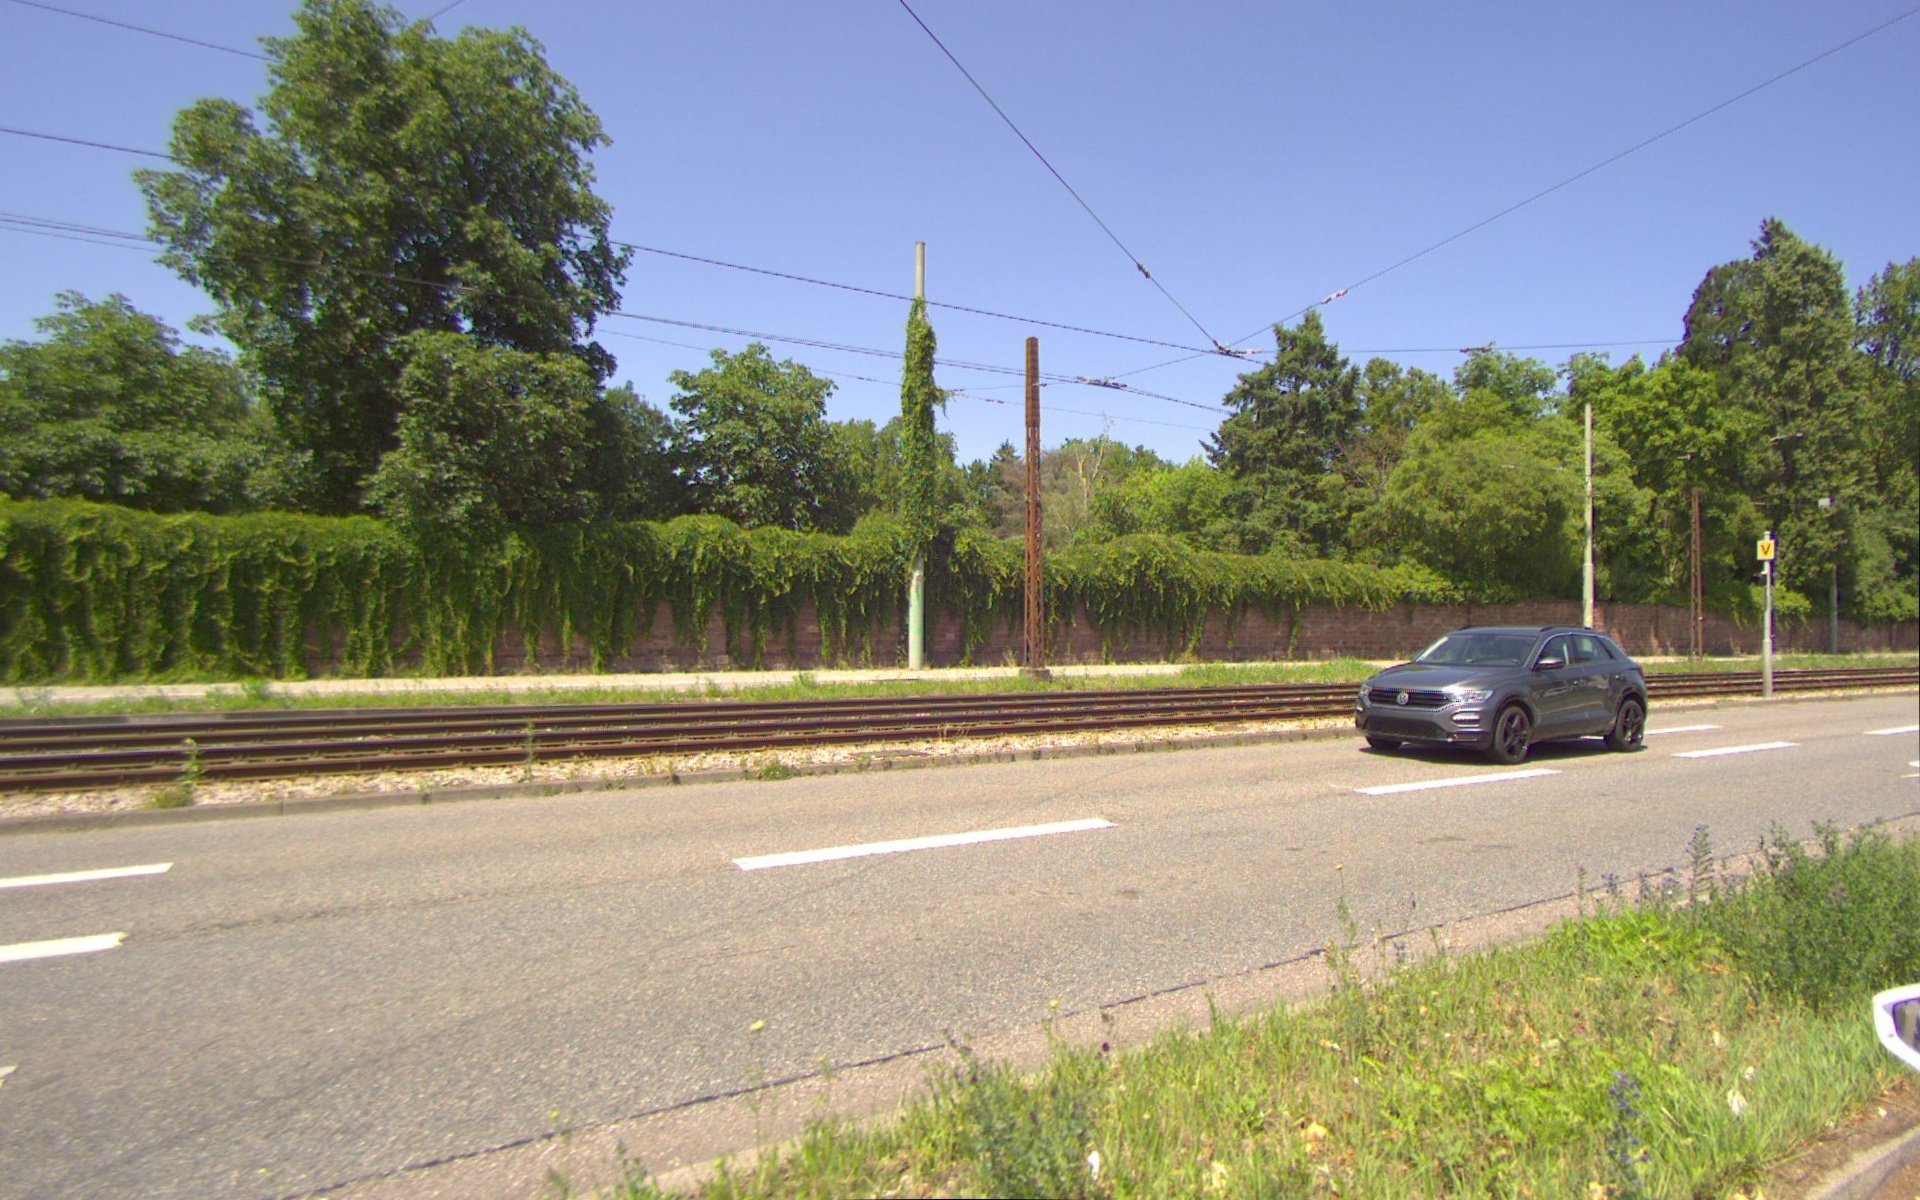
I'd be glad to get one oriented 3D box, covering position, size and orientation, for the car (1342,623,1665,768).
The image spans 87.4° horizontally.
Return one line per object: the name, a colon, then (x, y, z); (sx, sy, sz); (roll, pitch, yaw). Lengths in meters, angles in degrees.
car: (6.767, 1.059, 12.422); (4.018, 1.533, 1.689); (1, -1, -30)
